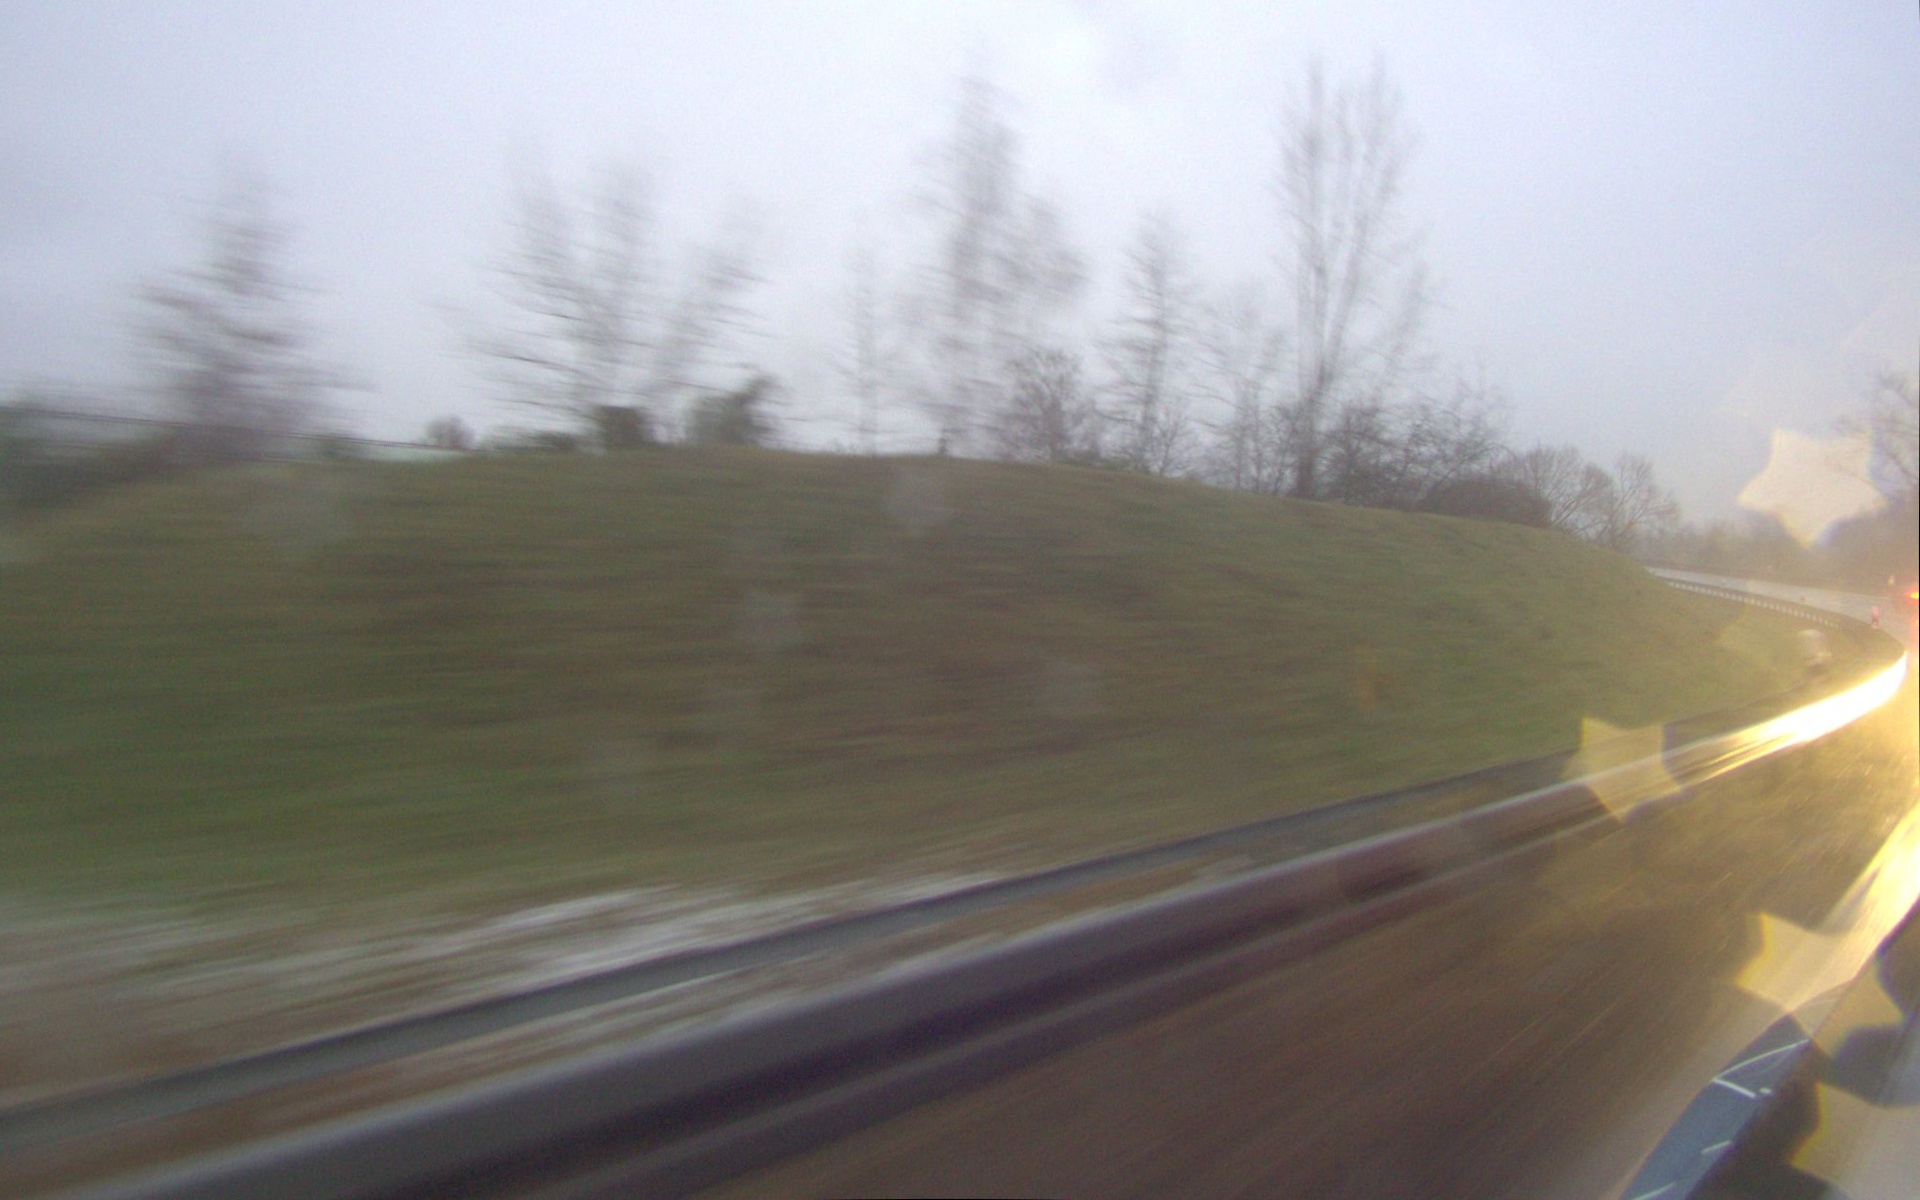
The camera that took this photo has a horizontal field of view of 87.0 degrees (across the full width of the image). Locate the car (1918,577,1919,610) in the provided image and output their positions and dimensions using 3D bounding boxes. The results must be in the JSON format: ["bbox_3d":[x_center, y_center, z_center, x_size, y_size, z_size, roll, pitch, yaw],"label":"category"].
[{"bbox_3d":[47.345,-0.316,48.066,1.987,1.642,4.540,-4,-1,35],"label":"car"}]
